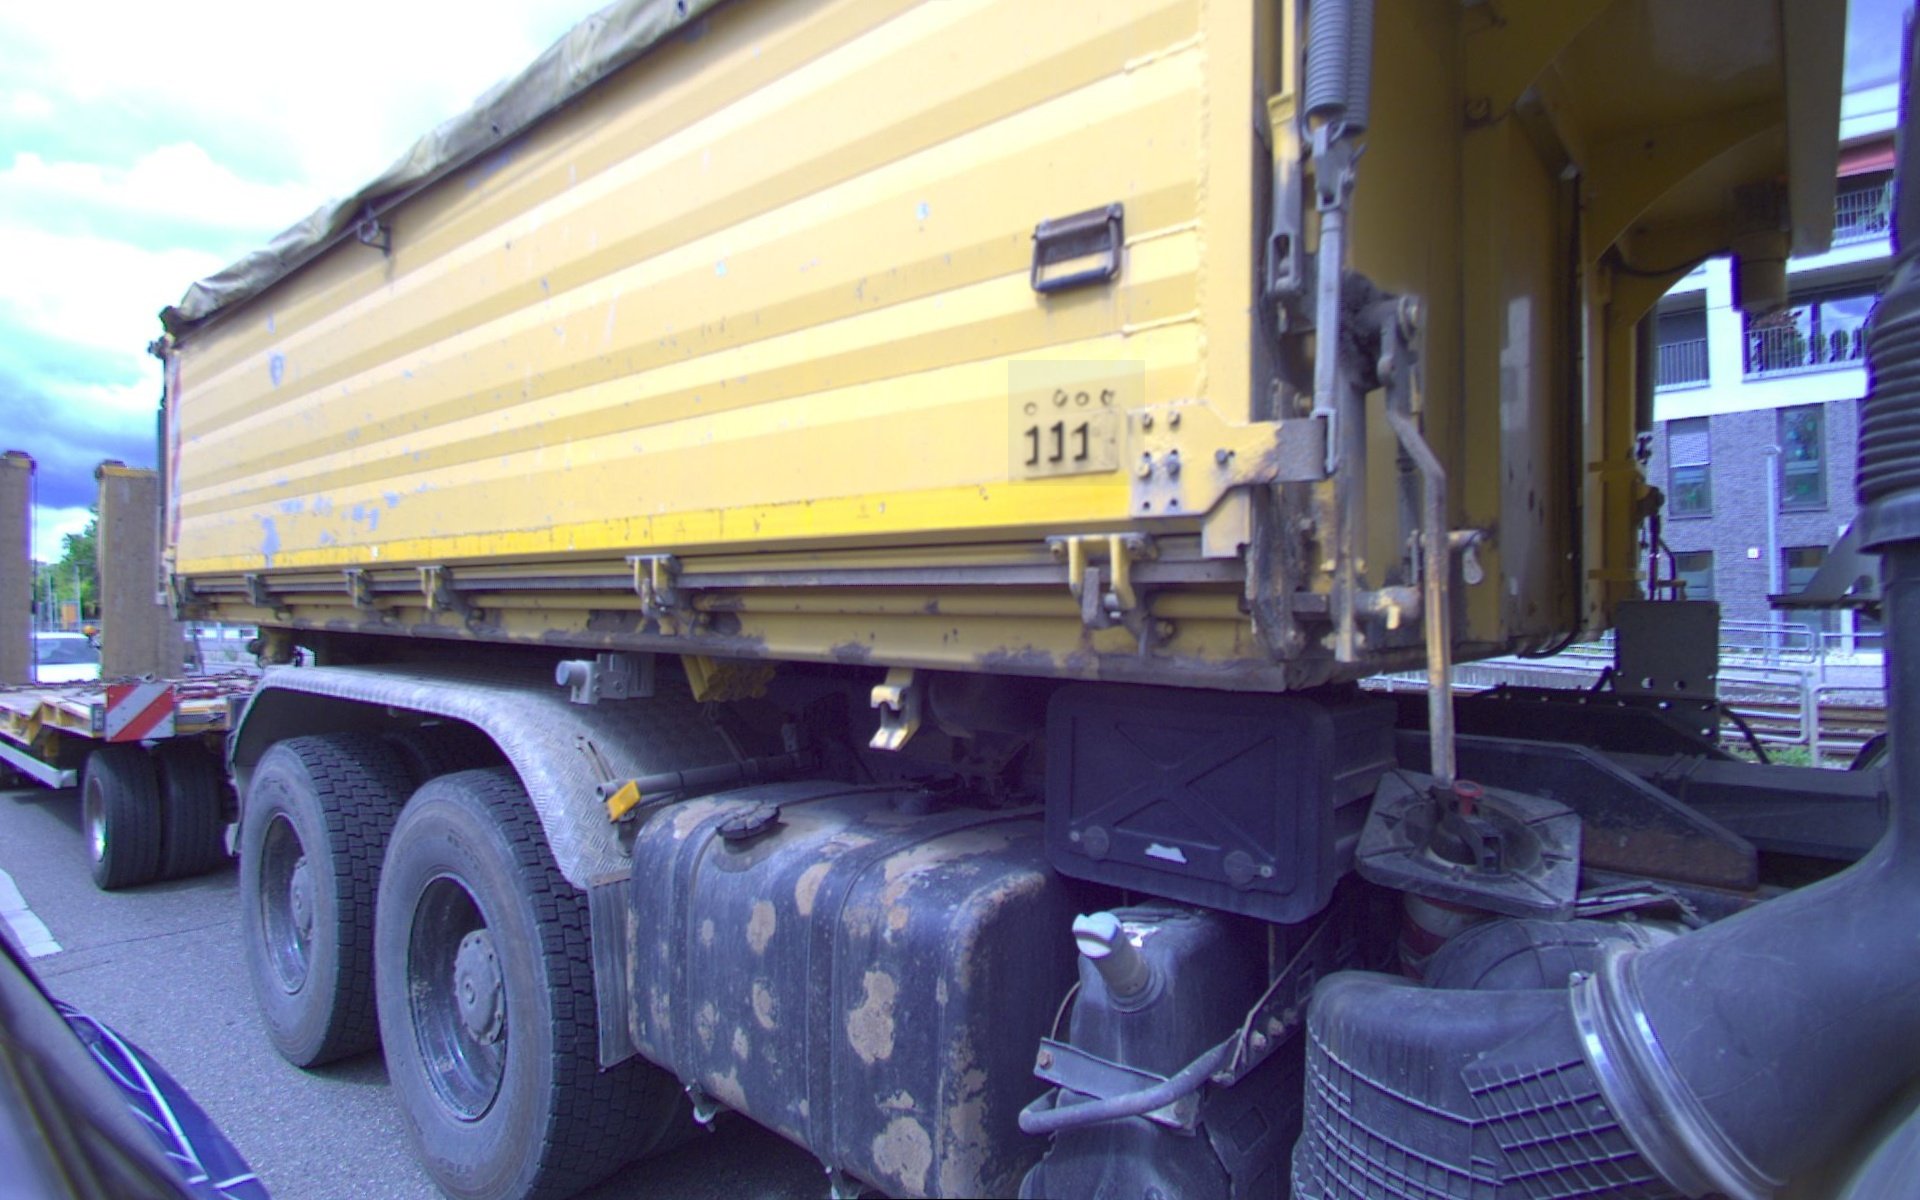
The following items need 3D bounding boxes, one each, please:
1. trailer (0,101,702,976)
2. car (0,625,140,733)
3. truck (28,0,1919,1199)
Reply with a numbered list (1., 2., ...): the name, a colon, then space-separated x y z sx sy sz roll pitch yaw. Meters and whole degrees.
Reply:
1. trailer: -6.857 -0.142 9.015 10.957 3.726 3.018 -2 -1 40
2. car: -13.983 1.128 15.384 3.784 1.427 1.761 -2 -1 41
3. truck: 0.138 -0.227 2.806 7.999 3.420 3.019 -2 -1 40
